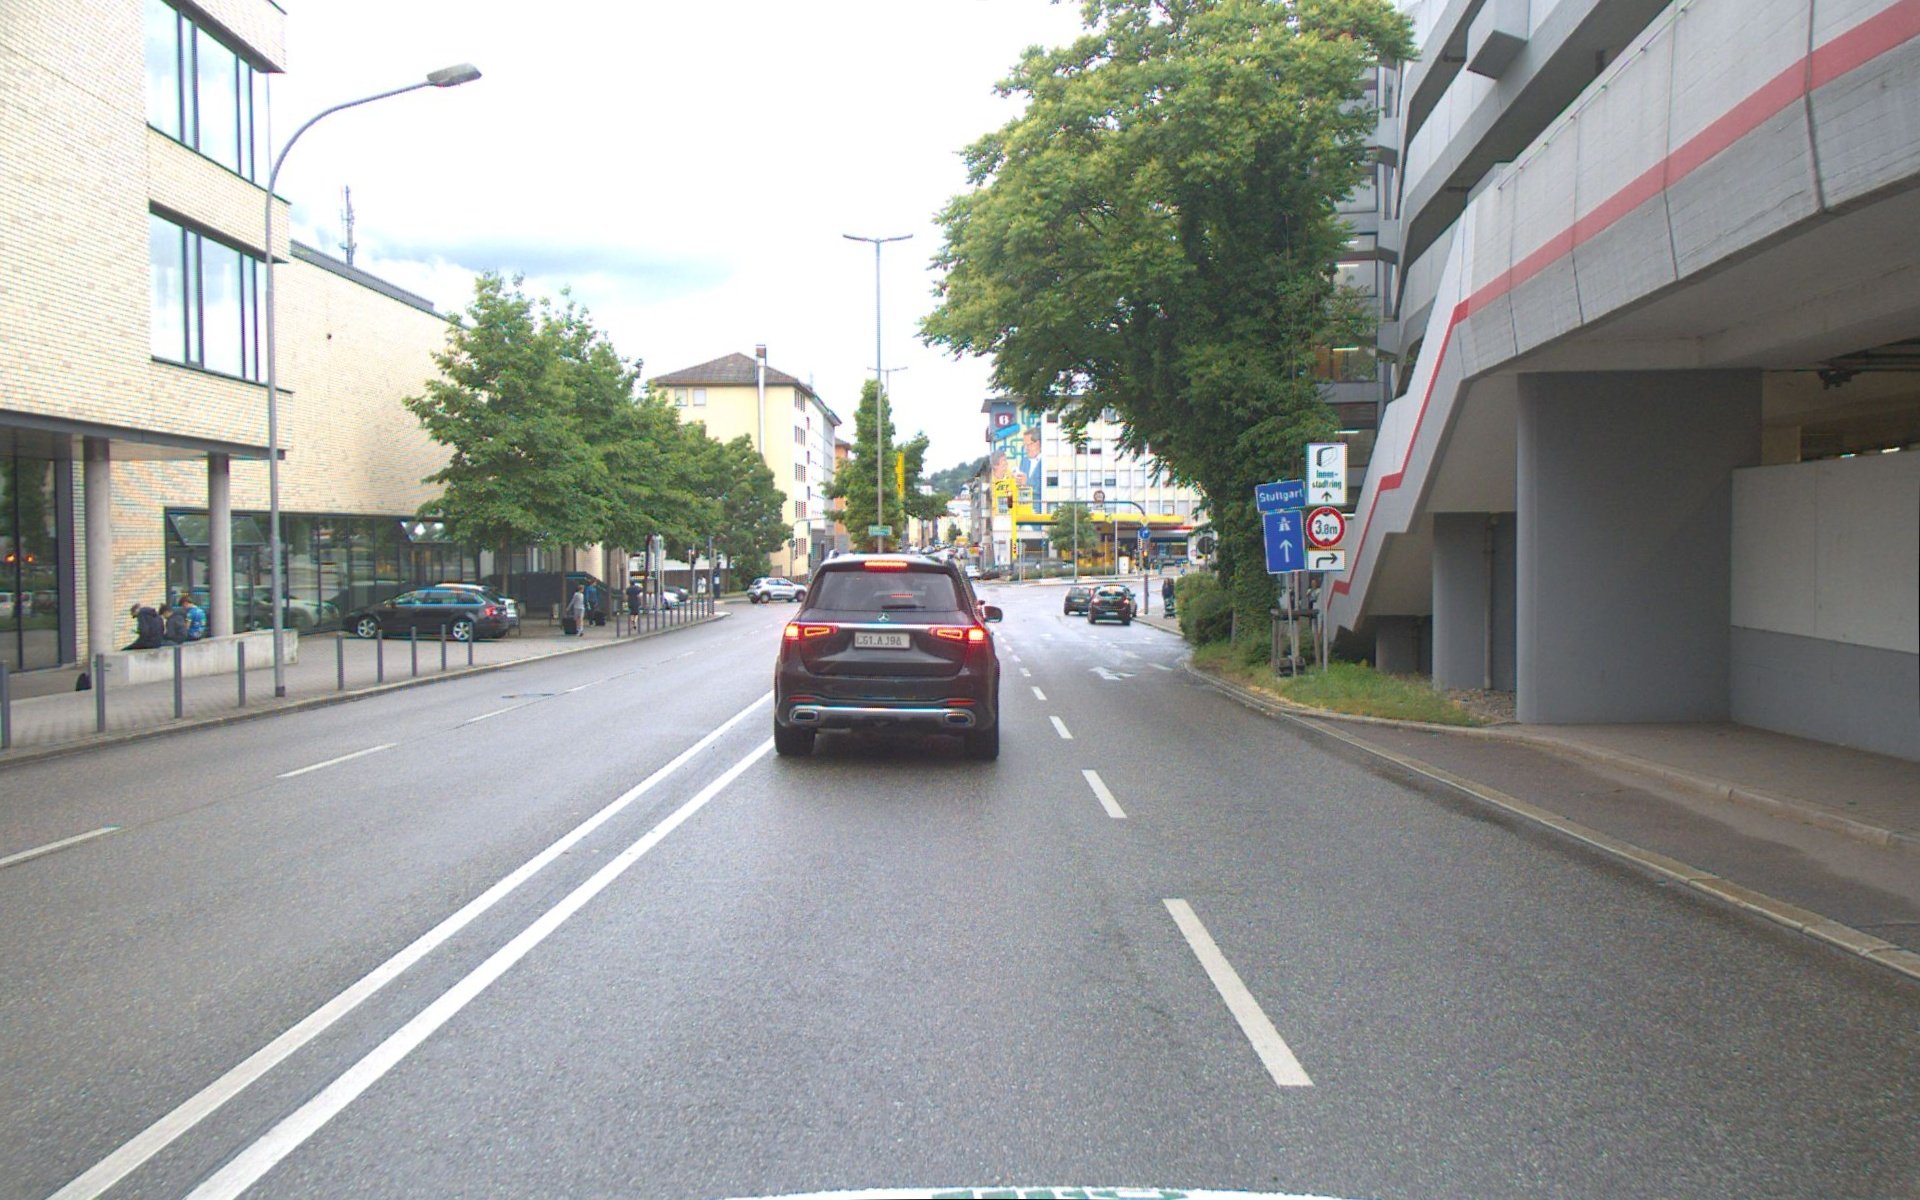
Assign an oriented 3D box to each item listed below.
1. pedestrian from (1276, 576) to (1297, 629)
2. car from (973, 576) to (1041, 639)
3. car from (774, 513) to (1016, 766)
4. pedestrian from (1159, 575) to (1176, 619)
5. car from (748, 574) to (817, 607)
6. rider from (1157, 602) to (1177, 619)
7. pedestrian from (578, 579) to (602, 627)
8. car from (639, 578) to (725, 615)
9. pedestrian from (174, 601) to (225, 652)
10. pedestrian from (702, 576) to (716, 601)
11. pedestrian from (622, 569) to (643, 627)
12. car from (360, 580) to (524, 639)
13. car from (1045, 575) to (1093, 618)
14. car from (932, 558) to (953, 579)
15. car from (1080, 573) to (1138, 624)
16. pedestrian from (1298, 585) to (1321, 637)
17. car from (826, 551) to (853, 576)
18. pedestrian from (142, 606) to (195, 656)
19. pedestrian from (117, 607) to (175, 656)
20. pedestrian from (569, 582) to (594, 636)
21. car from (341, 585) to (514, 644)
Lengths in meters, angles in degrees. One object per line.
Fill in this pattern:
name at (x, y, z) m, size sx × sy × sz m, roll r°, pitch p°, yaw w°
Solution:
pedestrian at (9.707, 0.078, 49.236) m, size 0.539 × 1.559 × 0.488 m, roll 1°, pitch -1°, yaw 6°
car at (1.353, 0.215, 48.836) m, size 1.669 × 1.746 × 3.441 m, roll 1°, pitch 0°, yaw -3°
car at (-0.582, 0.338, 15.696) m, size 1.953 × 2.049 × 3.999 m, roll 1°, pitch 0°, yaw -1°
pedestrian at (9.385, -0.129, 74.858) m, size 0.648 × 1.951 × 0.729 m, roll 1°, pitch -1°, yaw 13°
car at (-10.601, -0.573, 98.788) m, size 3.917 × 1.976 × 1.994 m, roll 0°, pitch 0°, yaw -12°
rider at (9.291, 0.480, 74.323) m, size 0.621 × 0.753 × 0.692 m, roll 1°, pitch -1°, yaw 41°
pedestrian at (-13.782, 0.133, 61.584) m, size 0.674 × 1.756 × 0.754 m, roll 1°, pitch -2°, yaw -1°
car at (-15.655, -0.214, 93.339) m, size 4.714 × 2.049 × 1.997 m, roll 0°, pitch 1°, yaw -8°
pedestrian at (-13.909, 0.485, 30.256) m, size 0.667 × 0.901 × 0.524 m, roll 1°, pitch -1°, yaw 0°
pedestrian at (-15.202, -0.685, 100.090) m, size 0.697 × 1.487 × 0.598 m, roll 1°, pitch -1°, yaw -2°
pedestrian at (-11.838, -0.065, 59.805) m, size 0.576 × 2.049 × 0.749 m, roll 1°, pitch -1°, yaw -2°
car at (-15.444, 0.283, 49.505) m, size 4.331 × 1.601 × 1.998 m, roll 1°, pitch 2°, yaw -6°
car at (5.356, -0.153, 81.612) m, size 1.953 × 2.049 × 3.998 m, roll 1°, pitch 0°, yaw -2°
car at (-1.697, -3.062, 160.898) m, size 1.953 × 2.048 × 3.999 m, roll 1°, pitch 1°, yaw -1°
car at (6.229, -0.061, 69.694) m, size 1.953 × 2.049 × 3.998 m, roll 1°, pitch 0°, yaw -2°
pedestrian at (10.422, 0.333, 49.295) m, size 0.569 × 1.527 × 0.504 m, roll 1°, pitch -1°, yaw 4°
car at (-9.791, -2.951, 134.806) m, size 1.953 × 1.908 × 5.140 m, roll 1°, pitch 0°, yaw -2°
pedestrian at (-13.841, 0.542, 28.944) m, size 0.574 × 0.859 × 0.727 m, roll 0°, pitch 0°, yaw 0°
pedestrian at (-13.851, 0.531, 28.168) m, size 0.585 × 0.800 × 0.760 m, roll 1°, pitch 0°, yaw 0°
pedestrian at (-12.470, 0.298, 54.465) m, size 0.662 × 1.727 × 0.479 m, roll 1°, pitch -1°, yaw -1°
car at (-15.202, 0.394, 47.391) m, size 4.382 × 1.615 × 1.997 m, roll 1°, pitch 0°, yaw -7°
